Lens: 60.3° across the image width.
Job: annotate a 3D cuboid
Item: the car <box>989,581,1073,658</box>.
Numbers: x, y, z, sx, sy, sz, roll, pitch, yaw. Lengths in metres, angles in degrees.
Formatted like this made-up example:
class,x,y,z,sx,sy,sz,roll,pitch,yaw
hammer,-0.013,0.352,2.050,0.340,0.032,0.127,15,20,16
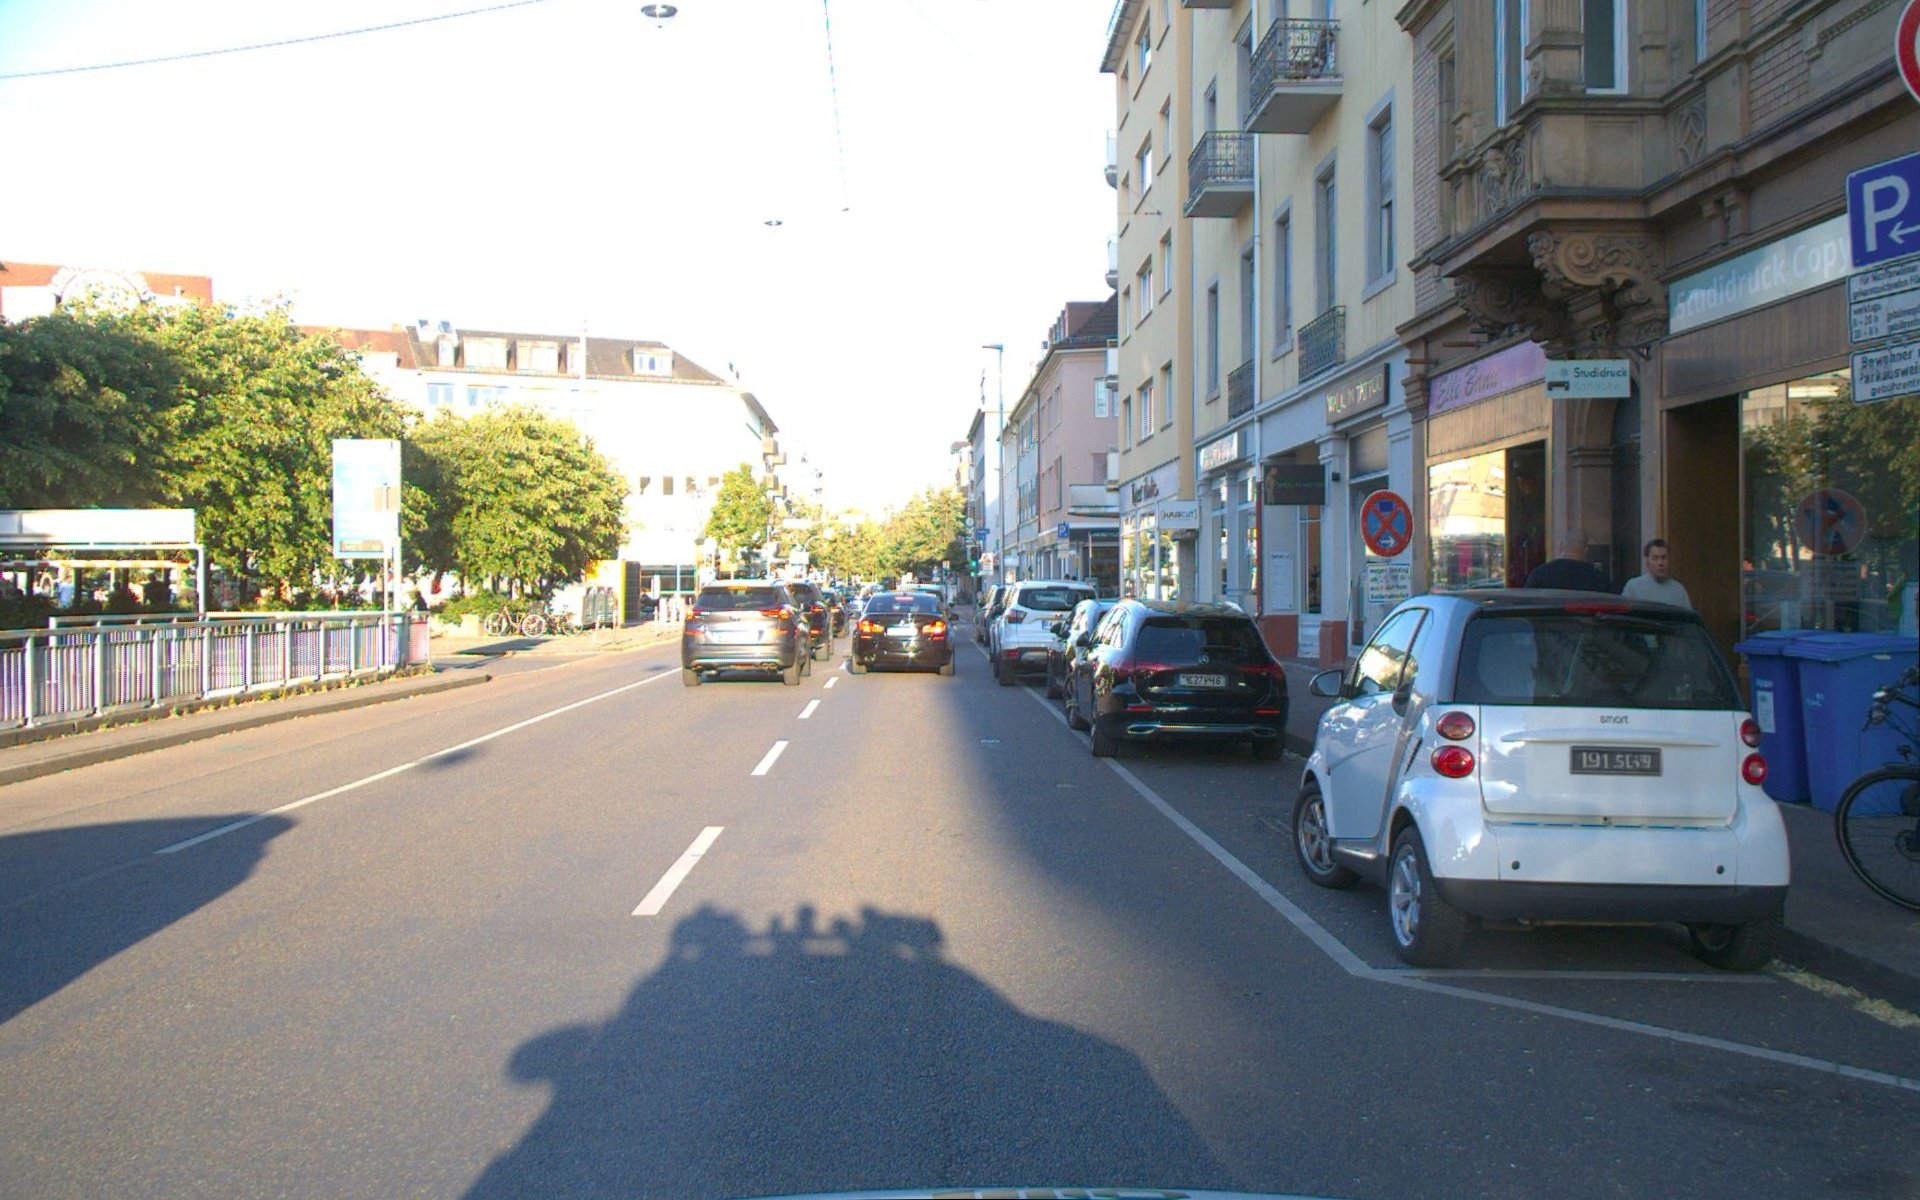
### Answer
class,x,y,z,sx,sy,sz,roll,pitch,yaw
car,1.629,0.441,39.131,1.695,1.681,3.828,2,0,-2

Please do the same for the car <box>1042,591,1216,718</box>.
class,x,y,z,sx,sy,sz,roll,pitch,yaw
car,2.125,0.654,21.940,1.695,1.473,4.472,2,0,-2

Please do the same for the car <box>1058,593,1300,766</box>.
class,x,y,z,sx,sy,sz,roll,pitch,yaw
car,2.056,0.700,16.746,1.695,1.473,4.523,2,0,-2

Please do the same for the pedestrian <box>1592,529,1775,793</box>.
class,x,y,z,sx,sy,sz,roll,pitch,yaw
pedestrian,5.065,0.402,11.644,0.757,1.741,1.041,-2,1,-3

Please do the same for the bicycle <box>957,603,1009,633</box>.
class,x,y,z,sx,sy,sz,roll,pitch,yaw
bicycle,0.768,0.609,55.237,1.729,0.984,0.490,0,0,3

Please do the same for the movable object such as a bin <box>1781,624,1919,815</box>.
class,x,y,z,sx,sy,sz,roll,pitch,yaw
movable object such as a bin,5.607,0.719,10.175,0.759,1.089,0.617,-2,0,-3

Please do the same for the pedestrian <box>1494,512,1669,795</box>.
class,x,y,z,sx,sy,sz,roll,pitch,yaw
pedestrian,4.311,0.348,11.543,0.757,1.859,1.010,-2,1,-3

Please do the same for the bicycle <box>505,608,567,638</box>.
class,x,y,z,sx,sy,sz,roll,pitch,yaw
bicycle,-13.245,0.716,51.745,1.790,0.868,0.483,3,0,-6

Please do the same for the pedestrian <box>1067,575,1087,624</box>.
class,x,y,z,sx,sy,sz,roll,pitch,yaw
pedestrian,4.508,-0.022,63.858,0.686,1.843,0.634,0,0,-6

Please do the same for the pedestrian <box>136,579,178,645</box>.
class,x,y,z,sx,sy,sz,roll,pitch,yaw
pedestrian,-20.057,0.296,41.320,0.773,1.622,0.568,0,0,17

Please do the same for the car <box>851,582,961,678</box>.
class,x,y,z,sx,sy,sz,roll,pitch,yaw
car,-1.018,0.498,30.437,1.859,1.608,3.998,1,0,-3

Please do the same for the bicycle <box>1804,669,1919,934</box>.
class,x,y,z,sx,sy,sz,roll,pitch,yaw
bicycle,4.173,0.847,6.629,0.494,1.033,1.946,-1,1,-3

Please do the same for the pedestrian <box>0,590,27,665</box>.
class,x,y,z,sx,sy,sz,roll,pitch,yaw
pedestrian,-20.839,0.589,35.980,0.663,1.622,0.677,0,0,17

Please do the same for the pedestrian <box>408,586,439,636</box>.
class,x,y,z,sx,sy,sz,roll,pitch,yaw
pedestrian,-17.264,0.347,53.237,0.773,1.622,0.568,0,0,17

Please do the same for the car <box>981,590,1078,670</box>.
class,x,y,z,sx,sy,sz,roll,pitch,yaw
car,1.357,0.563,33.612,1.694,1.476,4.311,2,0,-1

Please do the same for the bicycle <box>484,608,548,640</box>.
class,x,y,z,sx,sy,sz,roll,pitch,yaw
bicycle,-13.398,0.725,49.935,1.790,0.868,0.483,3,0,-6

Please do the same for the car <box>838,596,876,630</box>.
class,x,y,z,sx,sy,sz,roll,pitch,yaw
car,-4.936,0.614,79.498,1.744,1.574,3.998,0,1,-3

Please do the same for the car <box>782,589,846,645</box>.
class,x,y,z,sx,sy,sz,roll,pitch,yaw
car,-4.299,0.481,49.146,1.744,1.574,3.998,0,1,-3

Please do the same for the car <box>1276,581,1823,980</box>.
class,x,y,z,sx,sy,sz,roll,pitch,yaw
car,2.655,0.718,8.201,1.501,1.563,3.282,1,0,-1

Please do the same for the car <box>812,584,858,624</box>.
class,x,y,z,sx,sy,sz,roll,pitch,yaw
car,-5.070,0.136,67.407,1.744,1.574,3.998,0,1,-3

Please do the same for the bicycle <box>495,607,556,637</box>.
class,x,y,z,sx,sy,sz,roll,pitch,yaw
bicycle,-13.809,0.687,52.634,1.790,0.868,0.483,3,0,-6

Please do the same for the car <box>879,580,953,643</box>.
class,x,y,z,sx,sy,sz,roll,pitch,yaw
car,-1.223,0.281,44.619,1.859,1.608,3.998,1,0,-3

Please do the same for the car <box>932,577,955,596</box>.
class,x,y,z,sx,sy,sz,roll,pitch,yaw
car,-1.487,-1.214,145.732,1.859,1.608,3.850,-2,1,-3

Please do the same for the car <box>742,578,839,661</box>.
class,x,y,z,sx,sy,sz,roll,pitch,yaw
car,-3.613,0.384,35.789,1.859,1.678,4.102,0,0,-3

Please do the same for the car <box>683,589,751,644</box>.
class,x,y,z,sx,sy,sz,roll,pitch,yaw
car,-7.672,0.478,52.469,1.658,1.579,3.949,-2,1,-2

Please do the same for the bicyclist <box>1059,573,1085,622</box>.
class,x,y,z,sx,sy,sz,roll,pitch,yaw
bicyclist,4.204,-0.086,61.954,0.814,1.808,0.608,0,0,25

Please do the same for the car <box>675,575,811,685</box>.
class,x,y,z,sx,sy,sz,roll,pitch,yaw
car,-3.493,0.438,27.267,1.859,1.678,4.102,0,0,-3

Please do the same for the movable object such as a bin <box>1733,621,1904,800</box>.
class,x,y,z,sx,sy,sz,roll,pitch,yaw
movable object such as a bin,5.610,0.705,10.836,0.759,1.089,0.617,-2,0,-3

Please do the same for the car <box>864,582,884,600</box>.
class,x,y,z,sx,sy,sz,roll,pitch,yaw
car,-7.806,-0.798,150.023,1.744,1.574,3.998,0,1,-3

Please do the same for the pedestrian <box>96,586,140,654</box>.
class,x,y,z,sx,sy,sz,roll,pitch,yaw
pedestrian,-20.286,0.477,39.843,0.773,1.622,0.568,0,0,17

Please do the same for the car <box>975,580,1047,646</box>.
class,x,y,z,sx,sy,sz,roll,pitch,yaw
car,1.354,0.345,45.344,1.695,1.681,3.969,2,0,-2

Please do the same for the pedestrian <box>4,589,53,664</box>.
class,x,y,z,sx,sy,sz,roll,pitch,yaw
pedestrian,-20.634,0.575,36.640,0.663,1.622,0.677,0,0,17

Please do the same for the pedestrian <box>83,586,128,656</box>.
class,x,y,z,sx,sy,sz,roll,pitch,yaw
pedestrian,-20.061,0.494,38.842,0.773,1.622,0.568,0,0,17

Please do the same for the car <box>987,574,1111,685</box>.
class,x,y,z,sx,sy,sz,roll,pitch,yaw
car,1.416,0.455,27.851,1.695,1.679,4.283,2,0,-2

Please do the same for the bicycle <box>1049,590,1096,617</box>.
class,x,y,z,sx,sy,sz,roll,pitch,yaw
bicycle,4.214,0.141,61.964,1.731,0.984,0.490,1,0,25
